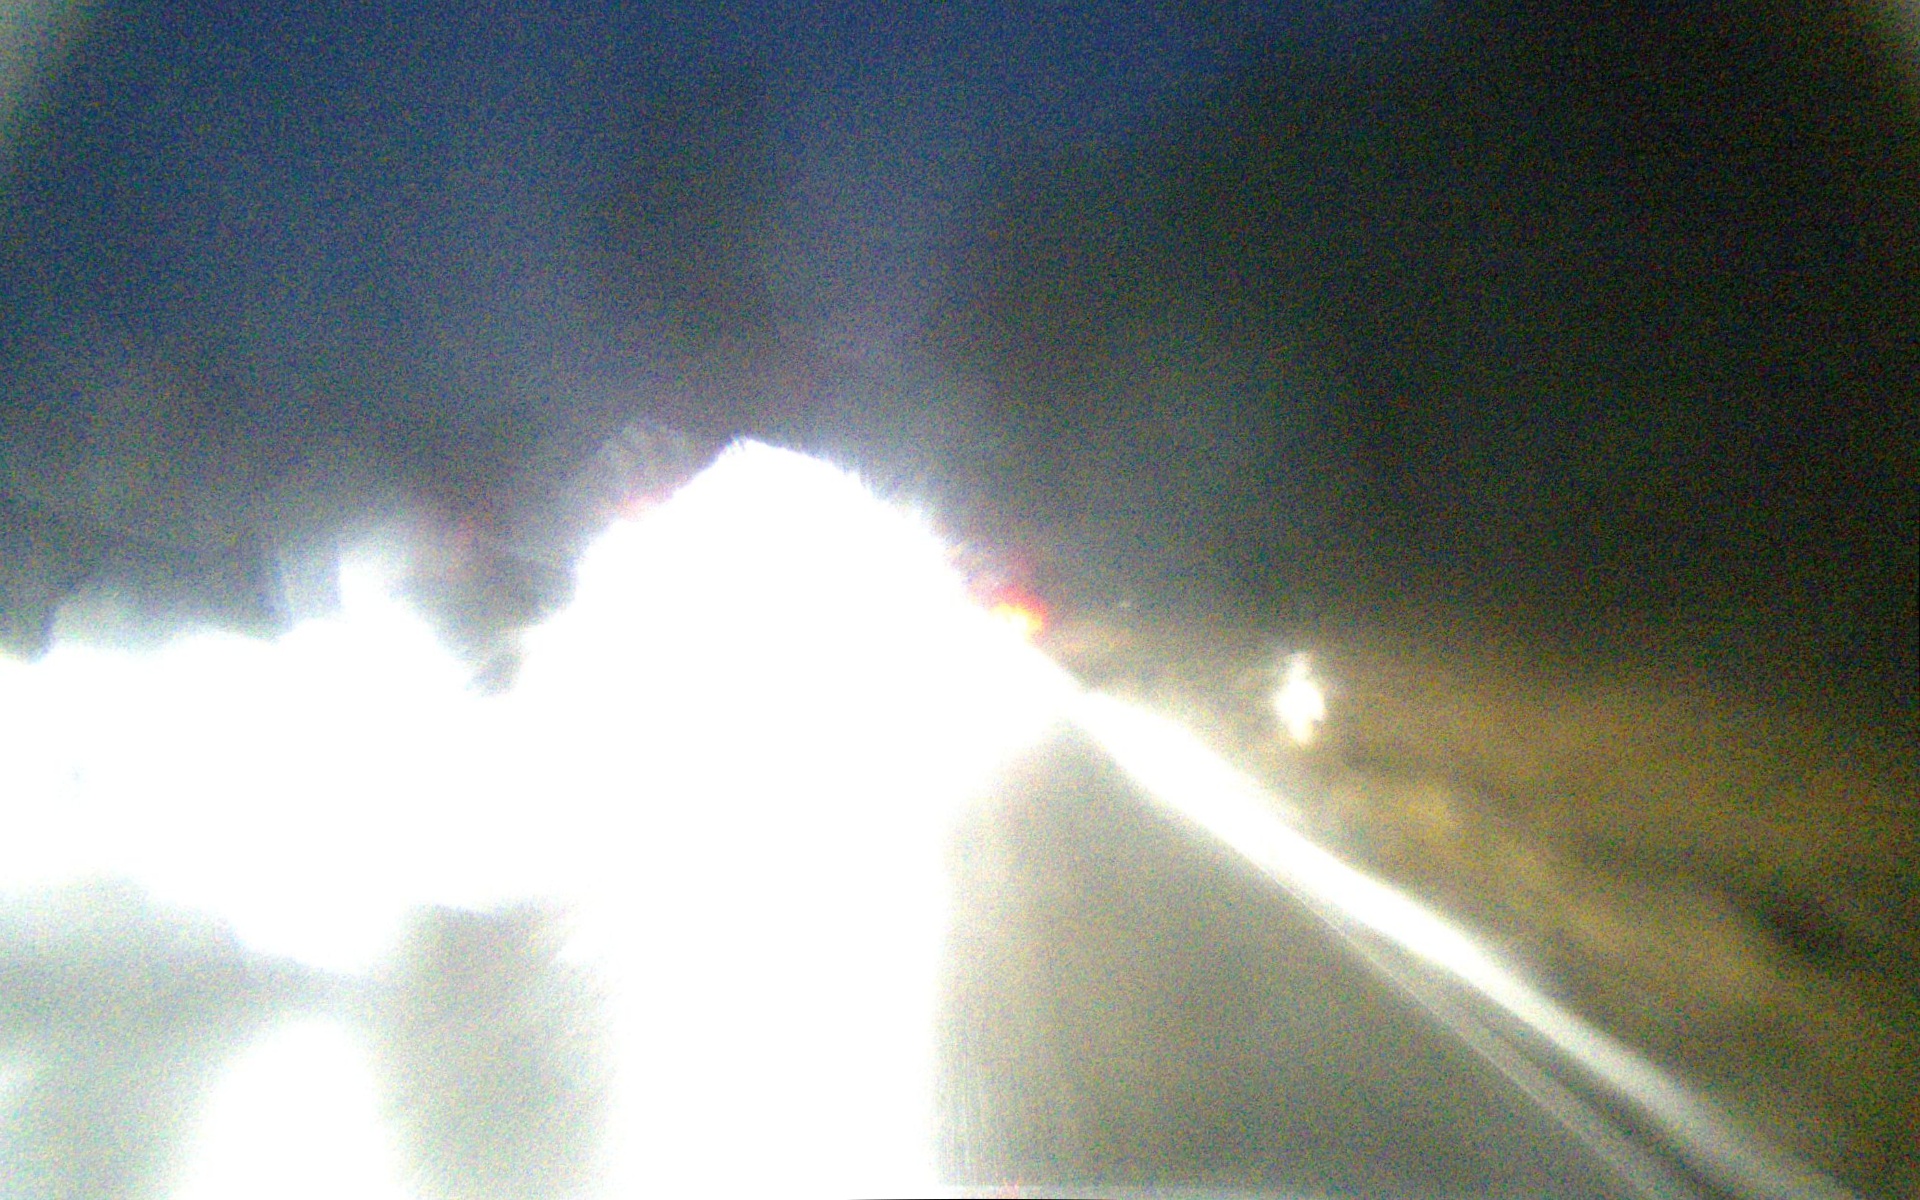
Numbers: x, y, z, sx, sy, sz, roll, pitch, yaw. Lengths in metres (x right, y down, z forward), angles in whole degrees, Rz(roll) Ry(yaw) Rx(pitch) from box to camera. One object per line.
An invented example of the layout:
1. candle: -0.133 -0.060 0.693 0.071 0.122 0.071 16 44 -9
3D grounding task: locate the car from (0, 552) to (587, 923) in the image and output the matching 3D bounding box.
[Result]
1. car: -3.480 0.564 9.114 1.935 1.542 4.346 -1 0 -1

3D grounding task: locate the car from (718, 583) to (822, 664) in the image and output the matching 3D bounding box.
1. car: -3.776 0.438 33.422 1.749 1.537 3.599 0 0 -1

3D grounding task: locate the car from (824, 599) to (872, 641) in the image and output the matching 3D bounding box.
1. car: -4.735 0.828 70.474 1.822 1.666 4.142 -1 0 -1

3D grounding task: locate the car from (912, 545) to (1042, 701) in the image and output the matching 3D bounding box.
1. car: 0.246 0.317 30.259 2.137 2.601 4.508 1 2 -1
